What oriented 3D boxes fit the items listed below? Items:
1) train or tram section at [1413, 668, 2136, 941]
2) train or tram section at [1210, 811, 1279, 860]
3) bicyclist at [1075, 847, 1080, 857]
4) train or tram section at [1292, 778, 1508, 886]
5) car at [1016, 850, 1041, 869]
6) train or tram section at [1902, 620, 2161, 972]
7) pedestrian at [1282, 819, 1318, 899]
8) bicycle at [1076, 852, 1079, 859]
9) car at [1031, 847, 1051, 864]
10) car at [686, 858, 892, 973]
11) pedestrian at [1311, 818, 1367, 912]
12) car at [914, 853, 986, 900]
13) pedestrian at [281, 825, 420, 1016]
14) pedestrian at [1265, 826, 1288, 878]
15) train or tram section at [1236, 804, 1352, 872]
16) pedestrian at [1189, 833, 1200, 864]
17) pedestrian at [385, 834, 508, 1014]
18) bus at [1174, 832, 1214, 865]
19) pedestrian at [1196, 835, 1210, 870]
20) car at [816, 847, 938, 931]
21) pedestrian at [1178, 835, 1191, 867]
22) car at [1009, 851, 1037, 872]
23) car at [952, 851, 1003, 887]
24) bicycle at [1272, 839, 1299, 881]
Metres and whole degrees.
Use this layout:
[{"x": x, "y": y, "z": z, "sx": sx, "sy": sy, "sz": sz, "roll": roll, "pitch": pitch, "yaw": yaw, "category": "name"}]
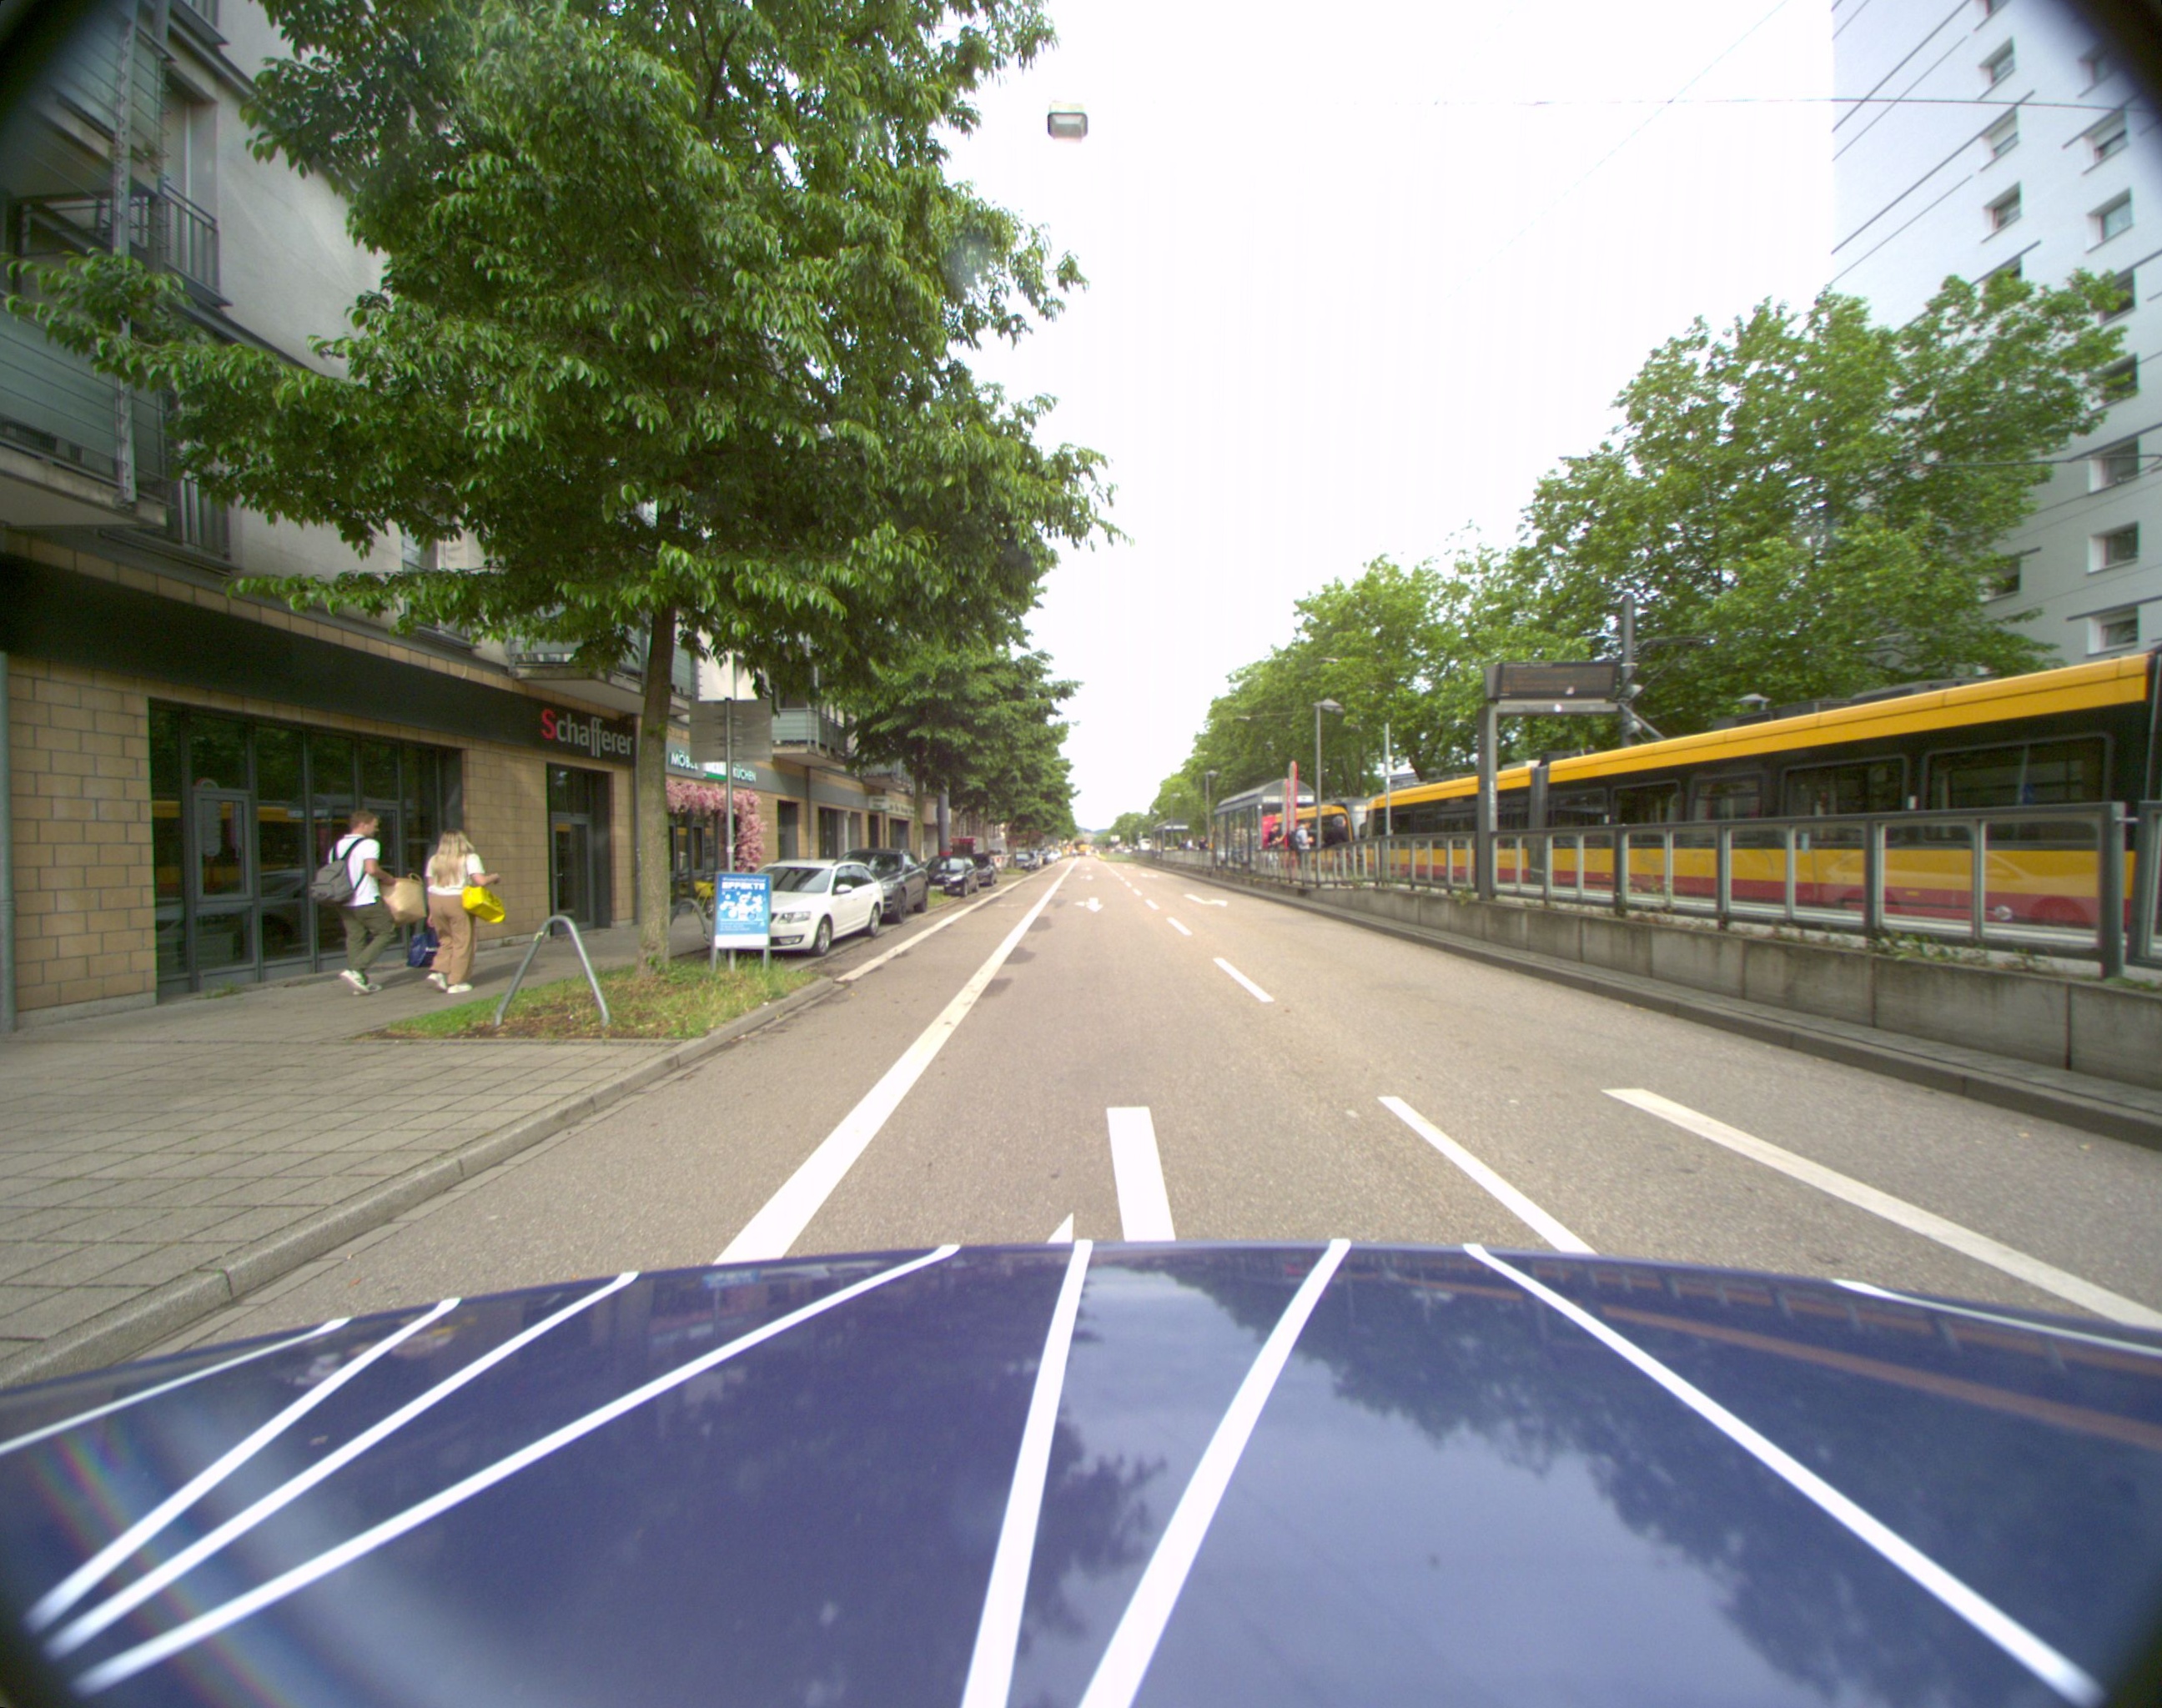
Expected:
[{"x": 12.628, "y": -0.771, "z": 17.798, "sx": 3.067, "sy": 3.511, "sz": 15.292, "roll": -2, "pitch": 1, "yaw": 1, "category": "train or tram section"}, {"x": 13.205, "y": -1.480, "z": 62.781, "sx": 3.100, "sy": 3.541, "sz": 12.537, "roll": -2, "pitch": 1, "yaw": 1, "category": "train or tram section"}, {"x": -0.653, "y": -0.347, "z": 135.922, "sx": 0.751, "sy": 1.777, "sz": 0.838, "roll": -2, "pitch": 1, "yaw": 1, "category": "bicyclist"}, {"x": 12.827, "y": -0.852, "z": 33.109, "sx": 3.067, "sy": 3.511, "sz": 15.292, "roll": -2, "pitch": 1, "yaw": 1, "category": "train or tram section"}, {"x": -4.315, "y": 0.404, "z": 62.608, "sx": 1.755, "sy": 1.452, "sz": 4.279, "roll": 1, "pitch": 1, "yaw": 0, "category": "car"}, {"x": 12.446, "y": -0.553, "z": 2.230, "sx": 3.067, "sy": 3.568, "sz": 15.846, "roll": -2, "pitch": 1, "yaw": 1, "category": "train or tram section"}, {"x": 5.697, "y": 0.122, "z": 19.733, "sx": 0.753, "sy": 2.002, "sz": 0.819, "roll": -2, "pitch": 2, "yaw": 24, "category": "pedestrian"}, {"x": -0.618, "y": 0.213, "z": 135.700, "sx": 0.613, "sy": 1.116, "sz": 2.050, "roll": -2, "pitch": 1, "yaw": 1, "category": "bicycle"}, {"x": -4.092, "y": 0.137, "z": 78.822, "sx": 1.837, "sy": 1.720, "sz": 4.279, "roll": 1, "pitch": 1, "yaw": 0, "category": "car"}, {"x": -4.708, "y": 0.886, "z": 13.004, "sx": 1.680, "sy": 1.490, "sz": 4.389, "roll": 2, "pitch": 1, "yaw": 2, "category": "car"}, {"x": 5.714, "y": 0.235, "z": 16.843, "sx": 0.756, "sy": 2.002, "sz": 0.816, "roll": -3, "pitch": 2, "yaw": -36, "category": "pedestrian"}, {"x": -4.614, "y": 0.736, "z": 27.372, "sx": 1.680, "sy": 1.433, "sz": 4.407, "roll": 2, "pitch": 1, "yaw": 2, "category": "car"}, {"x": -7.505, "y": 0.653, "z": 7.840, "sx": 0.676, "sy": 1.880, "sz": 0.737, "roll": 0, "pitch": 1, "yaw": 2, "category": "pedestrian"}, {"x": 6.229, "y": -0.069, "z": 24.216, "sx": 0.532, "sy": 1.623, "sz": 0.471, "roll": -2, "pitch": 1, "yaw": -2, "category": "pedestrian"}, {"x": 13.007, "y": -0.965, "z": 48.633, "sx": 3.067, "sy": 3.511, "sz": 15.769, "roll": -2, "pitch": 1, "yaw": 1, "category": "train or tram section"}, {"x": 6.183, "y": -0.292, "z": 41.324, "sx": 0.480, "sy": 1.623, "sz": 0.392, "roll": -2, "pitch": 1, "yaw": 2, "category": "pedestrian"}, {"x": -6.596, "y": 0.695, "z": 7.931, "sx": 0.617, "sy": 1.795, "sz": 0.737, "roll": 0, "pitch": 1, "yaw": 2, "category": "pedestrian"}, {"x": 7.333, "y": -0.364, "z": 49.820, "sx": 1.998, "sy": 2.002, "sz": 3.999, "roll": -2, "pitch": 1, "yaw": 1, "category": "bus"}, {"x": 5.862, "y": -0.087, "z": 36.512, "sx": 0.513, "sy": 1.623, "sz": 0.730, "roll": -2, "pitch": 1, "yaw": 2, "category": "pedestrian"}, {"x": -4.746, "y": 0.712, "z": 18.410, "sx": 1.716, "sy": 1.707, "sz": 4.710, "roll": 2, "pitch": 1, "yaw": -1, "category": "car"}, {"x": 6.639, "y": -0.168, "z": 48.618, "sx": 0.676, "sy": 2.002, "sz": 0.588, "roll": -2, "pitch": 1, "yaw": -2, "category": "pedestrian"}, {"x": -4.292, "y": 0.507, "z": 56.518, "sx": 1.755, "sy": 1.452, "sz": 4.279, "roll": 1, "pitch": 1, "yaw": 0, "category": "car"}, {"x": -4.699, "y": 0.629, "z": 35.067, "sx": 1.802, "sy": 1.447, "sz": 4.387, "roll": 2, "pitch": 1, "yaw": -1, "category": "car"}, {"x": 6.153, "y": 0.178, "z": 22.920, "sx": 0.420, "sy": 1.215, "sz": 1.289, "roll": -2, "pitch": 1, "yaw": 0, "category": "bicycle"}]
